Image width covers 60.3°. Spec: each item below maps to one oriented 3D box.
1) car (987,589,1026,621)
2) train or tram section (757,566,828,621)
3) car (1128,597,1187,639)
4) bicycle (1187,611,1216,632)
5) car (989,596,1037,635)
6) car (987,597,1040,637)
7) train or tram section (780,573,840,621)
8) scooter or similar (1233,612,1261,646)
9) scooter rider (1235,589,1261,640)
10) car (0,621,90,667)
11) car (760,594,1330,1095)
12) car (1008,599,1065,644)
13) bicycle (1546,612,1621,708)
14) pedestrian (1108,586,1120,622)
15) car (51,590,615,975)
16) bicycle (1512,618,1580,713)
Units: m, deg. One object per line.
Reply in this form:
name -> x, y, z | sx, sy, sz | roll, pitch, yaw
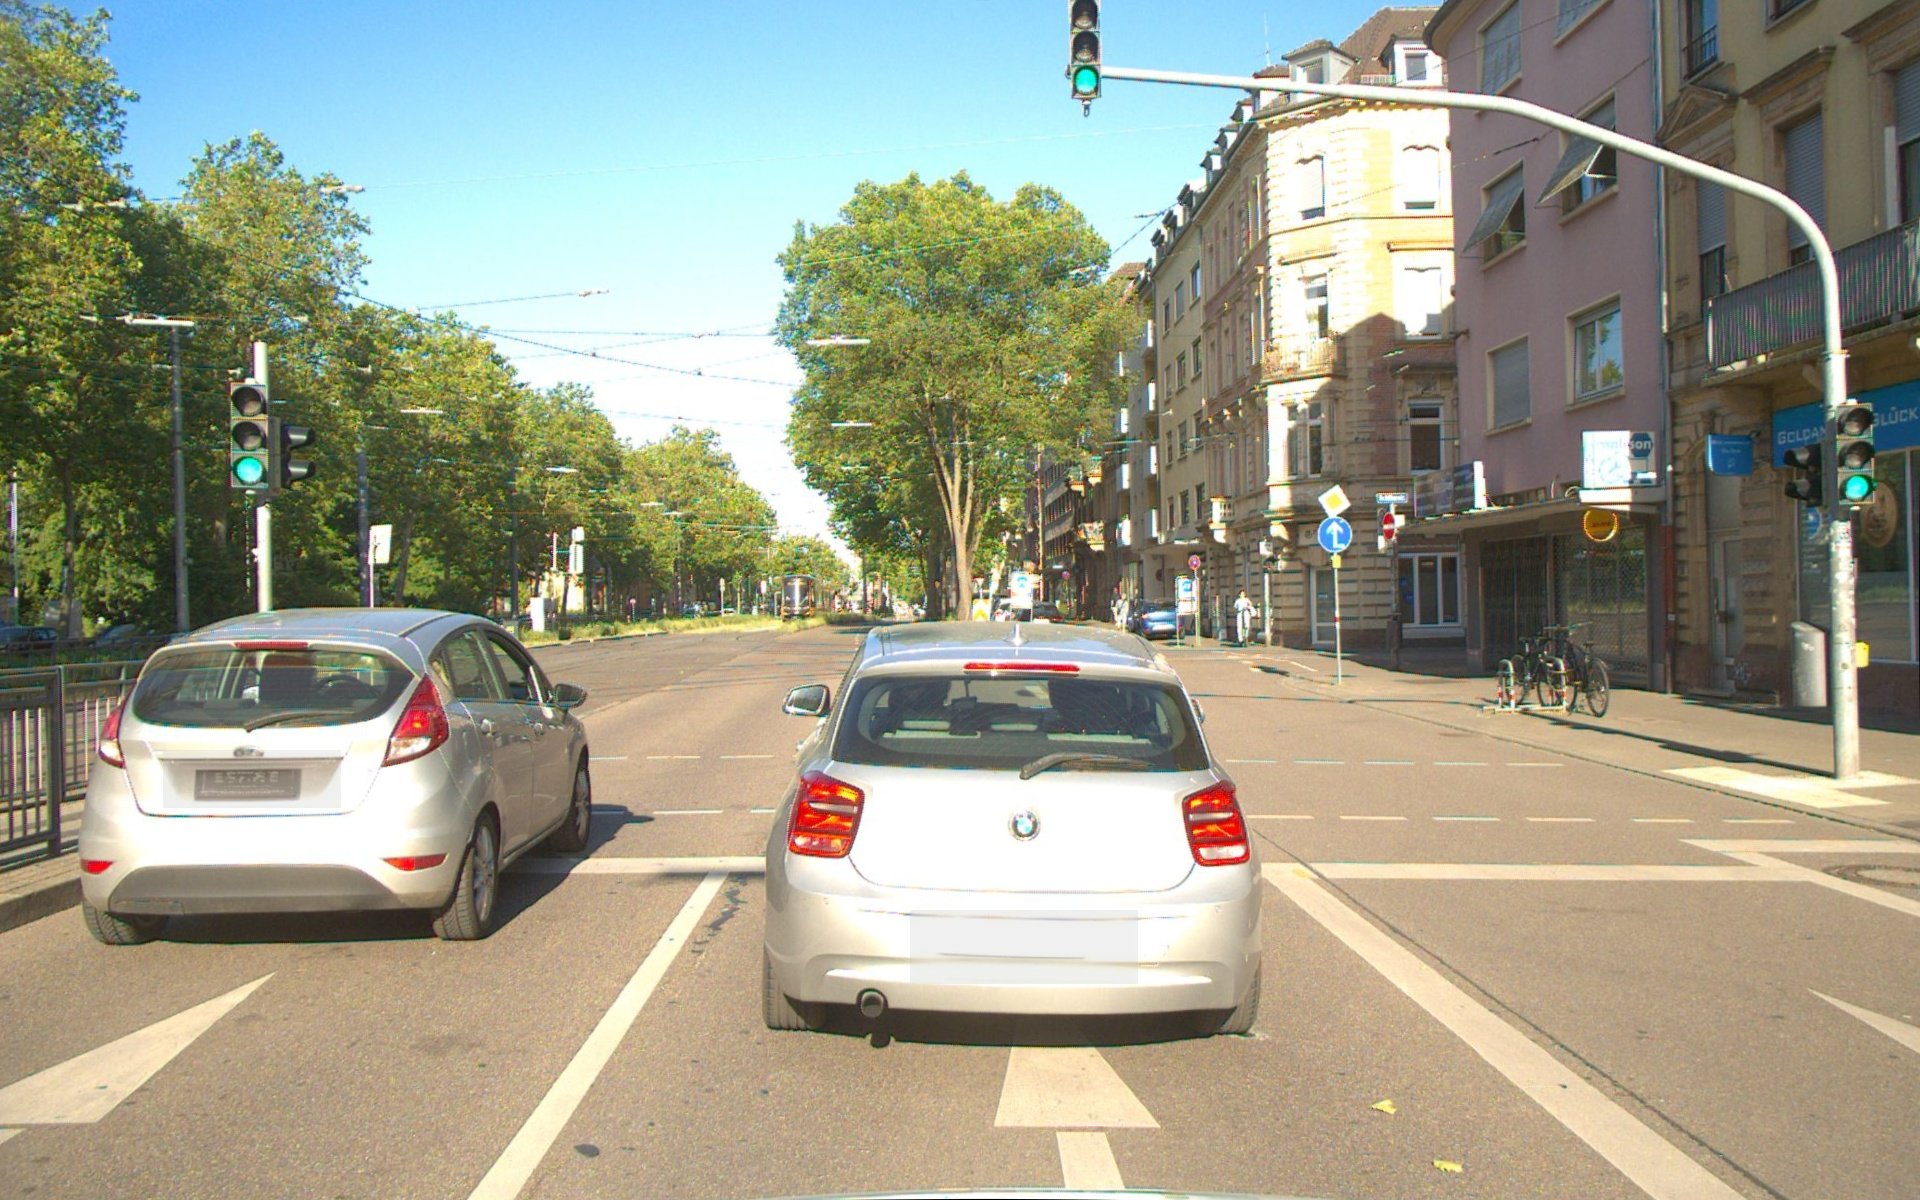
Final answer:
car -> 2.233, 0.235, 80.153 | 1.690, 1.533, 3.553 | 0, 0, -2
train or tram section -> -12.766, -0.460, 128.031 | 3.888, 3.933, 17.485 | -1, 0, -1
car -> 7.398, 0.661, 62.140 | 1.700, 1.546, 3.635 | 0, 0, -2
bicycle -> 9.134, 0.810, 62.507 | 0.739, 0.784, 1.944 | -1, 0, -2
car -> 2.135, 0.621, 67.400 | 1.690, 1.533, 3.553 | 0, 0, -2
car -> 1.969, 0.622, 61.844 | 1.709, 1.458, 3.553 | 0, 0, -2
train or tram section -> -13.038, -0.253, 145.616 | 3.924, 3.933, 17.485 | -1, 0, -1
scooter or similar -> 8.711, 0.884, 50.152 | 0.332, 1.005, 1.279 | -1, 0, -14
scooter rider -> 8.720, 0.439, 50.100 | 0.458, 1.531, 0.807 | -1, 0, -18
car -> -29.415, 1.360, 51.850 | 1.897, 1.372, 4.846 | -1, -1, -2
car -> 0.225, 0.737, 6.985 | 1.705, 1.493, 3.999 | 1, 0, -1
car -> 2.565, 0.695, 56.201 | 1.700, 1.458, 3.677 | 0, 0, -1
bicycle -> 8.100, 0.757, 21.547 | 0.439, 1.179, 1.759 | -1, 0, 5
pedestrian -> 7.974, 0.207, 85.818 | 0.495, 1.833, 0.805 | -1, 0, -1
car -> -2.881, 0.712, 8.495 | 1.577, 1.493, 3.887 | -1, 0, -3
bicycle -> 7.611, 0.826, 21.543 | 0.405, 1.161, 1.810 | 0, 0, 5
